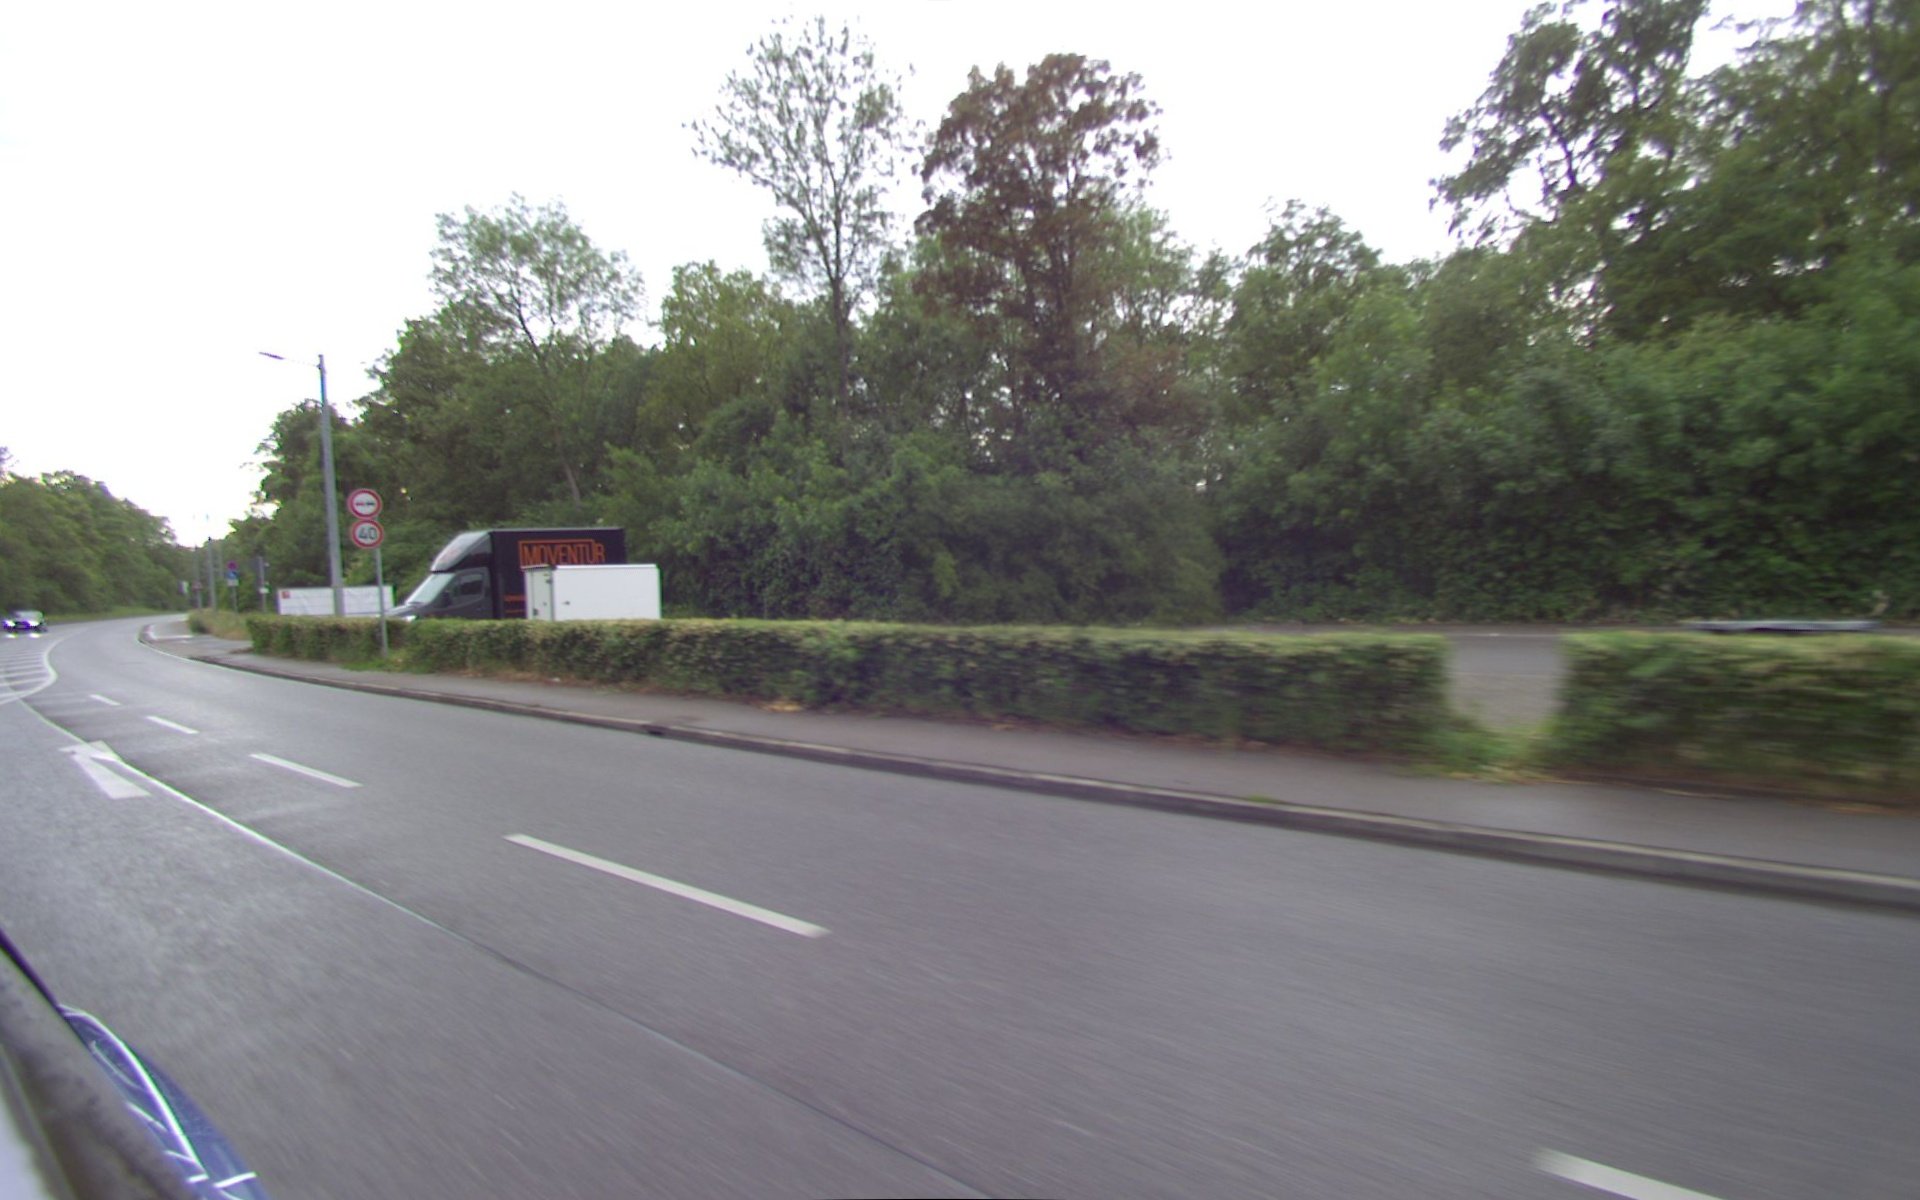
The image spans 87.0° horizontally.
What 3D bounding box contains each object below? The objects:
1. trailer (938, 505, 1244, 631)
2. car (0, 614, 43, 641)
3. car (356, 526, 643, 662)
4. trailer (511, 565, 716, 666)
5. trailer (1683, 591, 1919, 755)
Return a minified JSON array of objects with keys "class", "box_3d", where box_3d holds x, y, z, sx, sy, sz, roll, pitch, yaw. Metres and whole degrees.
[{"class":"trailer","box_3d":[3.222,-0.706,26.782,7.972,2.895,2.450,-1,0,41]},{"class":"car","box_3d":[-63.846,1.829,68.703,1.967,1.696,4.009,-1,1,-37]},{"class":"car","box_3d":[-11.850,-0.241,26.503,2.750,3.136,6.208,0,2,40]},{"class":"trailer","box_3d":[-7.757,0.284,22.900,1.873,2.068,3.943,-1,1,43]},{"class":"trailer","box_3d":[6.393,0.489,7.752,1.332,1.042,1.784,-1,1,37]}]
